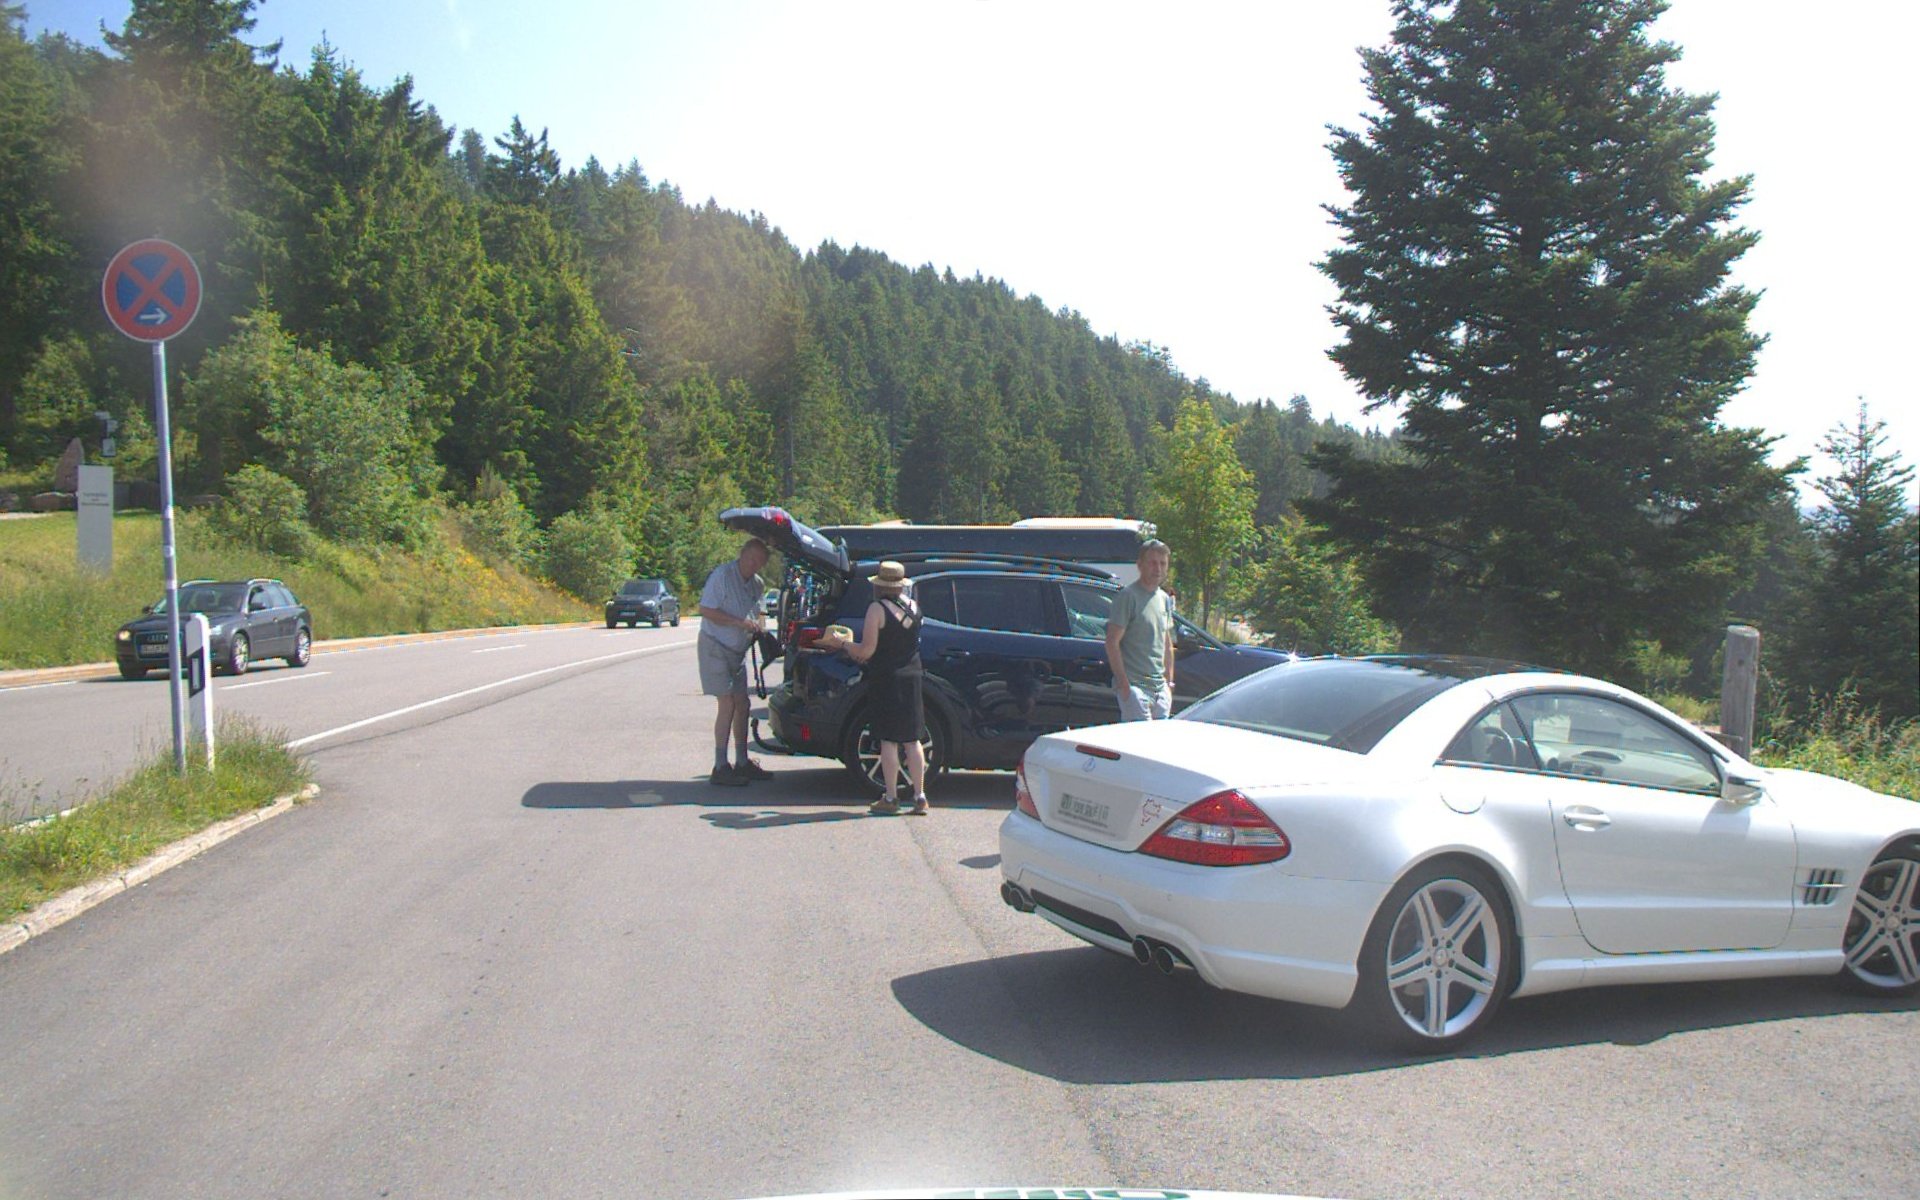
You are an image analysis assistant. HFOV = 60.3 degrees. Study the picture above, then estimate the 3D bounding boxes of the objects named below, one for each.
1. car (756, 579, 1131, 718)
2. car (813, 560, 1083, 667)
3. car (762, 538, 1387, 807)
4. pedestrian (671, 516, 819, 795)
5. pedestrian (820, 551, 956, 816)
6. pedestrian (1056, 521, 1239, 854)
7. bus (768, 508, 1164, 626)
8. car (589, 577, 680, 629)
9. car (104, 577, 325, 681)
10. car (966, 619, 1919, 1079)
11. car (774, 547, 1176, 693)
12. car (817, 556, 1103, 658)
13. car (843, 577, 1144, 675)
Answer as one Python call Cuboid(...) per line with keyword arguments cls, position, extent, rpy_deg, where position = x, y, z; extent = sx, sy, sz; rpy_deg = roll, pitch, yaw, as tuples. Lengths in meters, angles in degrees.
Cuboid(cls="car", position=(-0.242, 0.530, 18.686), extent=(4.007, 1.400, 1.699), rpy_deg=(2, 0, -10))
Cuboid(cls="car", position=(-0.215, 0.197, 26.486), extent=(4.159, 1.581, 1.837), rpy_deg=(-1, 1, -3))
Cuboid(cls="car", position=(0.740, 0.520, 12.248), extent=(4.263, 1.654, 1.866), rpy_deg=(3, -1, -9))
Cuboid(cls="pedestrian", position=(-1.536, 0.365, 11.860), extent=(0.721, 1.903, 0.757), rpy_deg=(3, 3, 27))
Cuboid(cls="pedestrian", position=(-0.470, 0.525, 10.657), extent=(0.704, 1.641, 0.533), rpy_deg=(1, -1, -24))
Cuboid(cls="pedestrian", position=(1.089, 0.486, 9.620), extent=(0.740, 1.831, 0.727), rpy_deg=(2, -1, -35))
Cuboid(cls="bus", position=(0.286, -1.052, 54.959), extent=(12.815, 3.594, 3.046), rpy_deg=(-1, 1, 7))
Cuboid(cls="car", position=(-11.266, 0.079, 57.555), extent=(1.952, 1.676, 4.570), rpy_deg=(-1, 1, 3))
Cuboid(cls="car", position=(-11.606, 0.386, 26.096), extent=(1.672, 1.463, 4.447), rpy_deg=(-1, 1, -4))
Cuboid(cls="car", position=(2.363, 0.839, 6.789), extent=(4.344, 1.318, 1.741), rpy_deg=(2, 1, -27))
Cuboid(cls="car", position=(0.176, 0.222, 20.931), extent=(4.848, 1.725, 1.945), rpy_deg=(0, 1, -1))
Cuboid(cls="car", position=(-0.036, 0.100, 29.616), extent=(4.934, 1.680, 2.047), rpy_deg=(-1, 1, -3))
Cuboid(cls="car", position=(0.429, 0.342, 23.838), extent=(4.159, 1.291, 1.837), rpy_deg=(-1, 1, -3))
